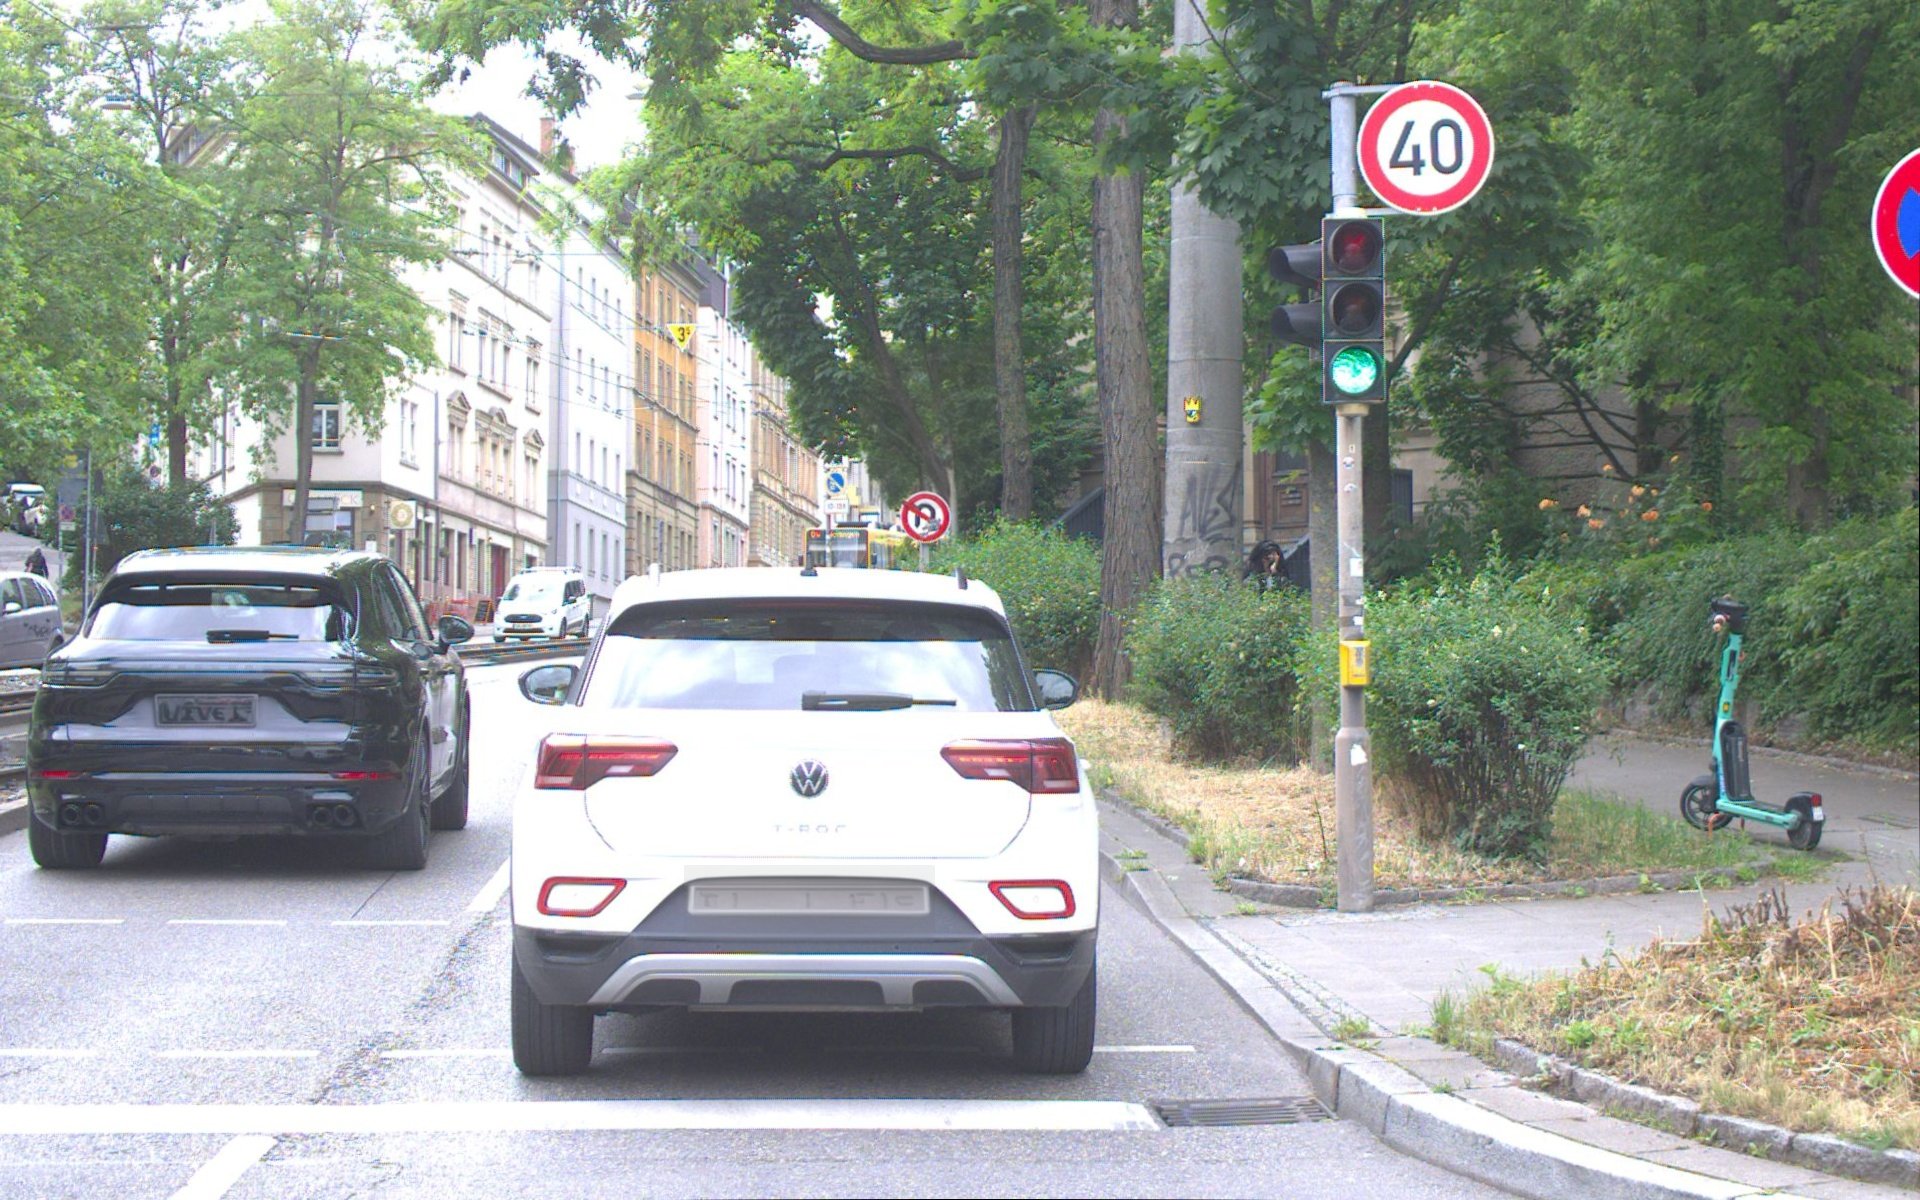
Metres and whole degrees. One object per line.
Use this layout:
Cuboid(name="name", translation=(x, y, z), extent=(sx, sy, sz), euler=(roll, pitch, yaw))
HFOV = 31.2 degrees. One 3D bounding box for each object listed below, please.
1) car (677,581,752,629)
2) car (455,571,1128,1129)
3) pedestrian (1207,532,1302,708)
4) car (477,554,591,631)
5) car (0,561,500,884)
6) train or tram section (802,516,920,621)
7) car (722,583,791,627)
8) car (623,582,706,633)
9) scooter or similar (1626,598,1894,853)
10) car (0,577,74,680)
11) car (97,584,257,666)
Cuboid(name="car", translation=(-8.197, 0.161, 115.238), extent=(1.994, 1.547, 3.999), euler=(0, 0, 4))
Cuboid(name="car", translation=(-0.616, 0.685, 11.604), extent=(1.878, 1.549, 4.001), euler=(0, 0, -4))
Cuboid(name="pedestrian", translation=(2.872, 0.189, 33.585), extent=(0.771, 1.697, 0.785), euler=(0, 0, -7))
Cuboid(name="car", translation=(-11.106, -0.231, 89.939), extent=(1.947, 1.939, 5.001), euler=(0, 1, 5))
Cuboid(name="car", translation=(-3.745, 0.585, 18.880), extent=(2.037, 1.566, 4.358), euler=(0, 0, -3))
Cuboid(name="train or tram section", translation=(-3.675, -1.177, 131.603), extent=(2.883, 3.713, 14.854), euler=(2, 0, 4))
Cuboid(name="car", translation=(-7.338, 0.181, 124.261), extent=(1.994, 1.547, 3.999), euler=(0, 0, 4))
Cuboid(name="car", translation=(-9.213, 0.224, 107.363), extent=(1.994, 1.547, 3.999), euler=(0, 0, 4))
Cuboid(name="scooter or similar", translation=(3.974, 0.597, 17.196), extent=(0.630, 1.206, 1.558), euler=(0, 0, -15))
Cuboid(name="car", translation=(-14.238, 0.404, 49.478), extent=(1.659, 1.438, 3.739), euler=(0, 0, 6))
Cuboid(name="car", translation=(-14.075, 0.432, 61.980), extent=(1.766, 1.403, 4.082), euler=(0, 0, 3))
